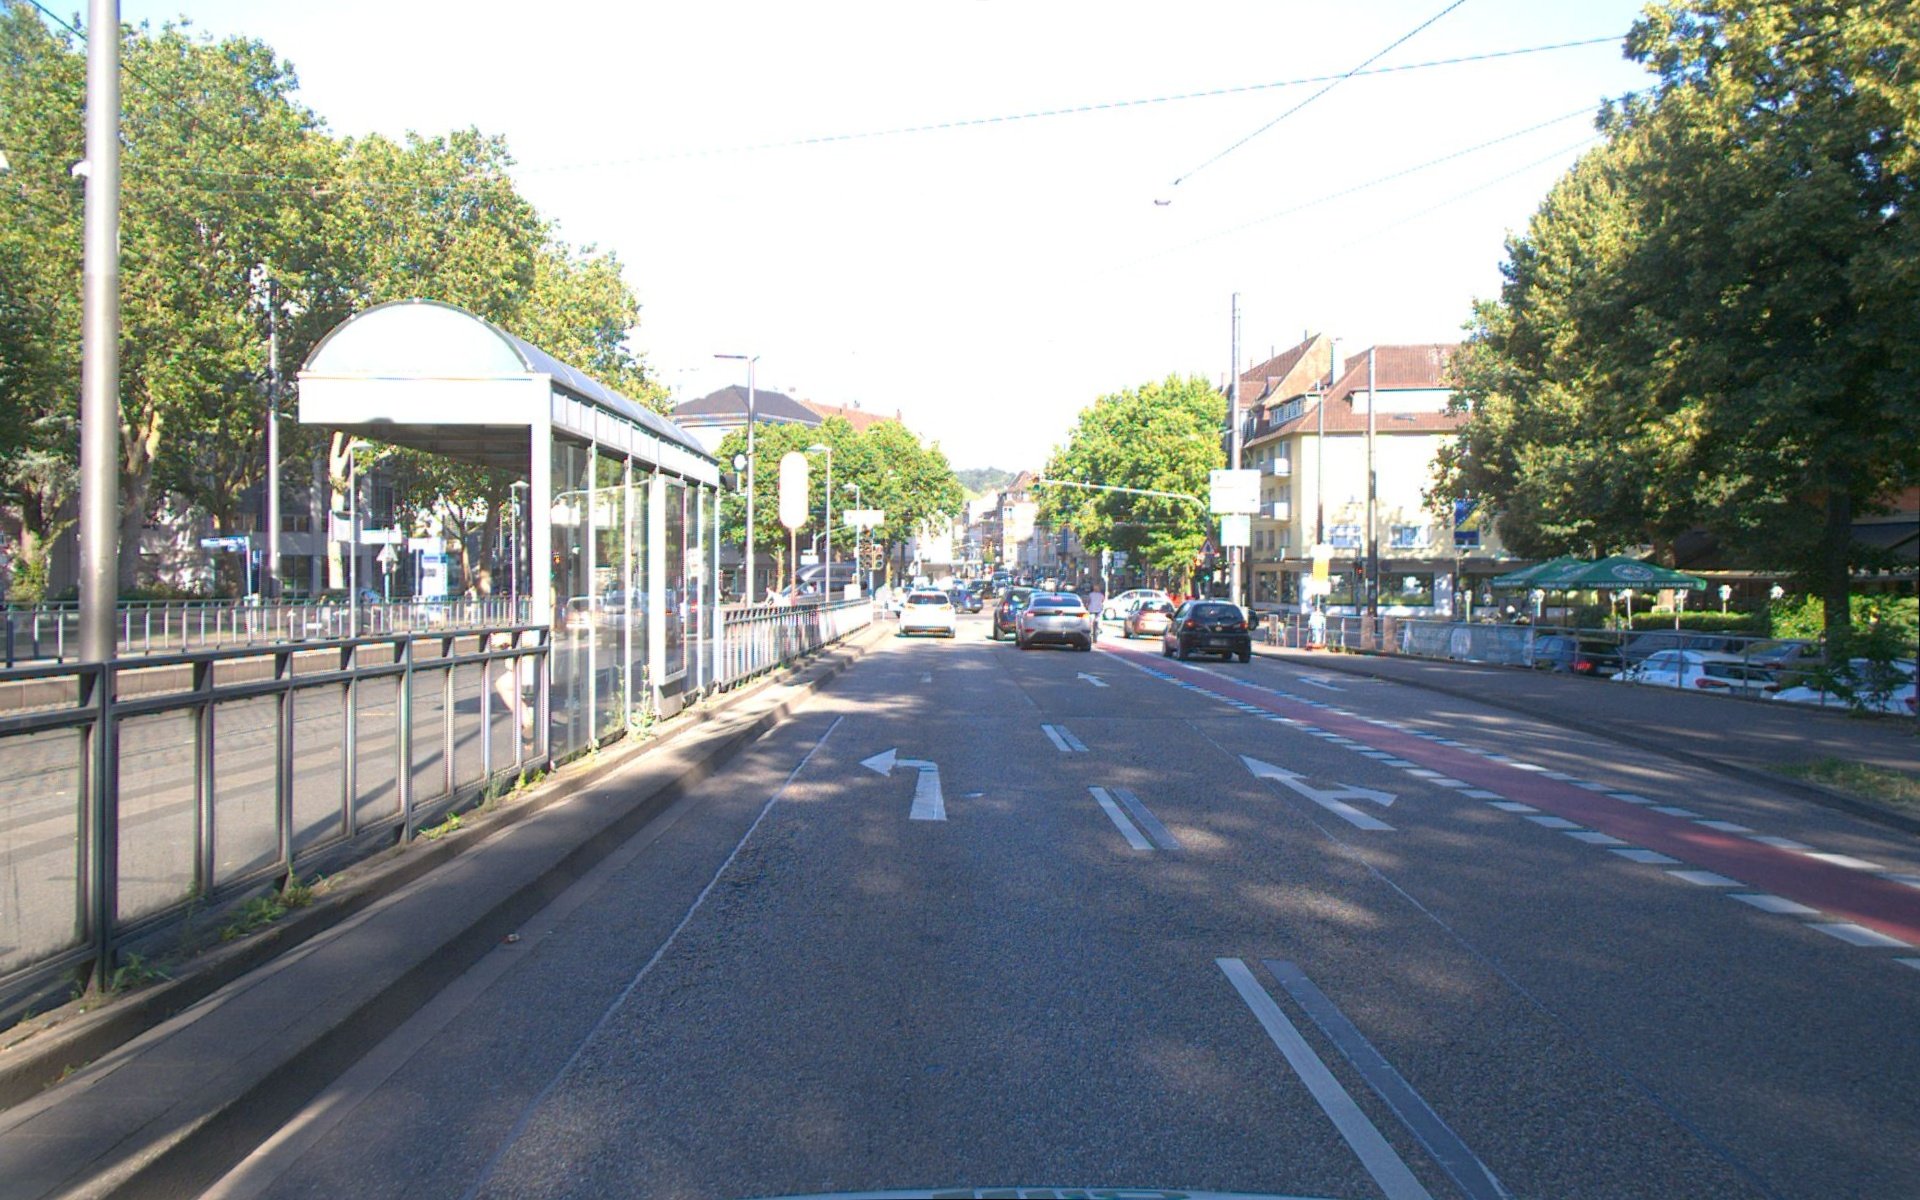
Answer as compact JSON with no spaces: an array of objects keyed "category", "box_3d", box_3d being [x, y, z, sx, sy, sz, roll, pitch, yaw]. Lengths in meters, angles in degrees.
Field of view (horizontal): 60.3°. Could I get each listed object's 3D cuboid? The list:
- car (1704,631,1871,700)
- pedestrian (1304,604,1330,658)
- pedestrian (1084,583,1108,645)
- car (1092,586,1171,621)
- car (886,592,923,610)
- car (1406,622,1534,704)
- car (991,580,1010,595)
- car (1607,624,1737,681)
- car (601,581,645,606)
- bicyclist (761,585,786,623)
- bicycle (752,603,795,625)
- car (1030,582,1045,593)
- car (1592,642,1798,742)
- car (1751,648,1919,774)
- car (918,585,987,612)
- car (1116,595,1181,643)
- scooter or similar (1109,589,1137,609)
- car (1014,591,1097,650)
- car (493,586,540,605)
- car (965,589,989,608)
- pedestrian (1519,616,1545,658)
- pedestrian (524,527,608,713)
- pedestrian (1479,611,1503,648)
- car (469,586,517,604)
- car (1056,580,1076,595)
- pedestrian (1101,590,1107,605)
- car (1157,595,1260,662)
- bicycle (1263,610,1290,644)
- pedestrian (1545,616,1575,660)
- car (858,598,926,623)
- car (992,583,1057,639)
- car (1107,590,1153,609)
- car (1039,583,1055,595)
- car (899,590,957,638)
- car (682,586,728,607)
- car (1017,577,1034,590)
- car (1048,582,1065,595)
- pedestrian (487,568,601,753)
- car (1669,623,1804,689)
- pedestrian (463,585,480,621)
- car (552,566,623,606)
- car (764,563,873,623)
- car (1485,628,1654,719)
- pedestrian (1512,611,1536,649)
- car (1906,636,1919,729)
[{"category":"car","box_3d":[20.191,1.553,40.301,4.202,1.431,1.940,-1,1,-36]},{"category":"pedestrian","box_3d":[10.922,0.941,50.598,0.634,1.590,0.632,3,0,18]},{"category":"pedestrian","box_3d":[4.209,0.432,51.178,0.643,1.904,0.677,0,0,-1]},{"category":"car","box_3d":[8.971,0.201,86.836,4.059,1.722,1.822,1,0,5]},{"category":"car","box_3d":[-4.705,0.117,140.439,1.689,1.537,3.874,0,0,24]},{"category":"car","box_3d":[13.119,1.577,42.808,1.758,1.931,4.356,1,-1,-3]},{"category":"car","box_3d":[4.302,-1.306,176.695,1.758,1.537,3.998,0,0,-2]},{"category":"car","box_3d":[20.186,1.455,46.843,3.960,1.371,1.755,-2,1,-38]},{"category":"car","box_3d":[-27.455,-0.512,134.810,1.756,1.990,4.002,0,0,18]},{"category":"bicyclist","box_3d":[-7.138,0.134,63.288,0.784,1.439,0.527,0,0,26]},{"category":"bicycle","box_3d":[-7.142,0.523,63.288,1.579,0.830,0.527,0,0,26]},{"category":"car","box_3d":[10.766,-1.751,230.370,1.758,1.549,3.999,0,0,-1]},{"category":"car","box_3d":[13.517,1.642,30.712,1.758,1.606,4.441,1,-1,-1]},{"category":"car","box_3d":[13.836,1.593,24.709,1.758,1.606,4.552,1,-1,-1]},{"category":"car","box_3d":[-0.475,-0.109,99.364,3.924,1.537,1.792,1,0,39]},{"category":"car","box_3d":[6.651,0.636,58.753,1.758,1.536,4.000,1,1,-1]},{"category":"scooter or similar","box_3d":[10.843,-0.074,110.015,1.915,1.303,0.550,1,0,41]},{"category":"car","box_3d":[2.513,0.512,44.656,1.890,1.498,4.854,1,0,-1]},{"category":"car","box_3d":[-37.248,-0.378,139.100,1.758,1.537,3.999,0,0,22]},{"category":"car","box_3d":[1.697,-0.153,162.035,1.756,1.858,4.003,0,0,9]},{"category":"pedestrian","box_3d":[18.903,1.221,54.663,0.636,1.361,0.631,3,0,29]},{"category":"pedestrian","box_3d":[-3.694,0.182,15.548,0.583,1.707,0.590,1,0,4]},{"category":"pedestrian","box_3d":[20.142,1.111,62.716,0.635,1.361,0.632,3,0,-1]},{"category":"car","box_3d":[-39.627,-0.420,140.425,1.758,1.537,3.999,0,0,22]},{"category":"car","box_3d":[12.703,-1.481,198.477,2.062,1.807,4.340,0,0,-1]},{"category":"pedestrian","box_3d":[16.546,-0.324,190.015,0.634,1.680,0.650,1,-1,10]},{"category":"car","box_3d":[5.941,0.639,39.938,1.764,1.464,4.044,2,0,-1]},{"category":"bicycle","box_3d":[10.543,0.900,55.155,0.488,1.093,1.799,1,-1,-1]},{"category":"pedestrian","box_3d":[19.172,1.213,52.863,0.635,1.361,0.632,3,0,-1]},{"category":"car","box_3d":[-3.408,0.549,83.054,2.865,1.183,2.058,1,-1,-24]},{"category":"car","box_3d":[1.970,0.322,51.876,1.764,1.666,4.044,1,0,-2]},{"category":"car","box_3d":[14.488,-0.041,140.705,3.968,1.537,1.772,0,0,-43]},{"category":"car","box_3d":[11.146,-1.442,211.138,1.758,1.537,3.999,0,0,-1]},{"category":"car","box_3d":[-1.048,0.427,53.549,1.771,1.478,3.999,1,0,-2]},{"category":"car","box_3d":[-20.228,-0.275,131.311,1.881,1.677,4.181,0,0,19]},{"category":"car","box_3d":[10.075,-2.570,255.379,2.280,2.049,4.975,0,0,-1]},{"category":"car","box_3d":[11.910,-1.386,204.991,1.758,1.537,3.999,0,0,-1]},{"category":"pedestrian","box_3d":[-3.083,0.441,12.303,0.664,1.331,0.593,1,0,0]},{"category":"car","box_3d":[20.611,1.442,43.834,3.963,1.506,1.774,-2,1,-40]},{"category":"pedestrian","box_3d":[-21.297,0.120,72.104,0.524,1.579,0.677,0,0,-1]},{"category":"car","box_3d":[-30.535,-1.120,135.754,2.445,3.220,6.535,0,0,22]},{"category":"car","box_3d":[-6.946,-0.333,81.418,4.949,2.791,2.058,1,-1,-25]},{"category":"car","box_3d":[13.527,1.584,36.960,1.760,1.834,4.204,1,-1,-8]},{"category":"pedestrian","box_3d":[21.063,1.125,61.765,0.635,1.361,0.632,3,0,-1]},{"category":"car","box_3d":[20.390,1.562,32.567,3.960,1.765,1.775,-2,1,-39]}]
